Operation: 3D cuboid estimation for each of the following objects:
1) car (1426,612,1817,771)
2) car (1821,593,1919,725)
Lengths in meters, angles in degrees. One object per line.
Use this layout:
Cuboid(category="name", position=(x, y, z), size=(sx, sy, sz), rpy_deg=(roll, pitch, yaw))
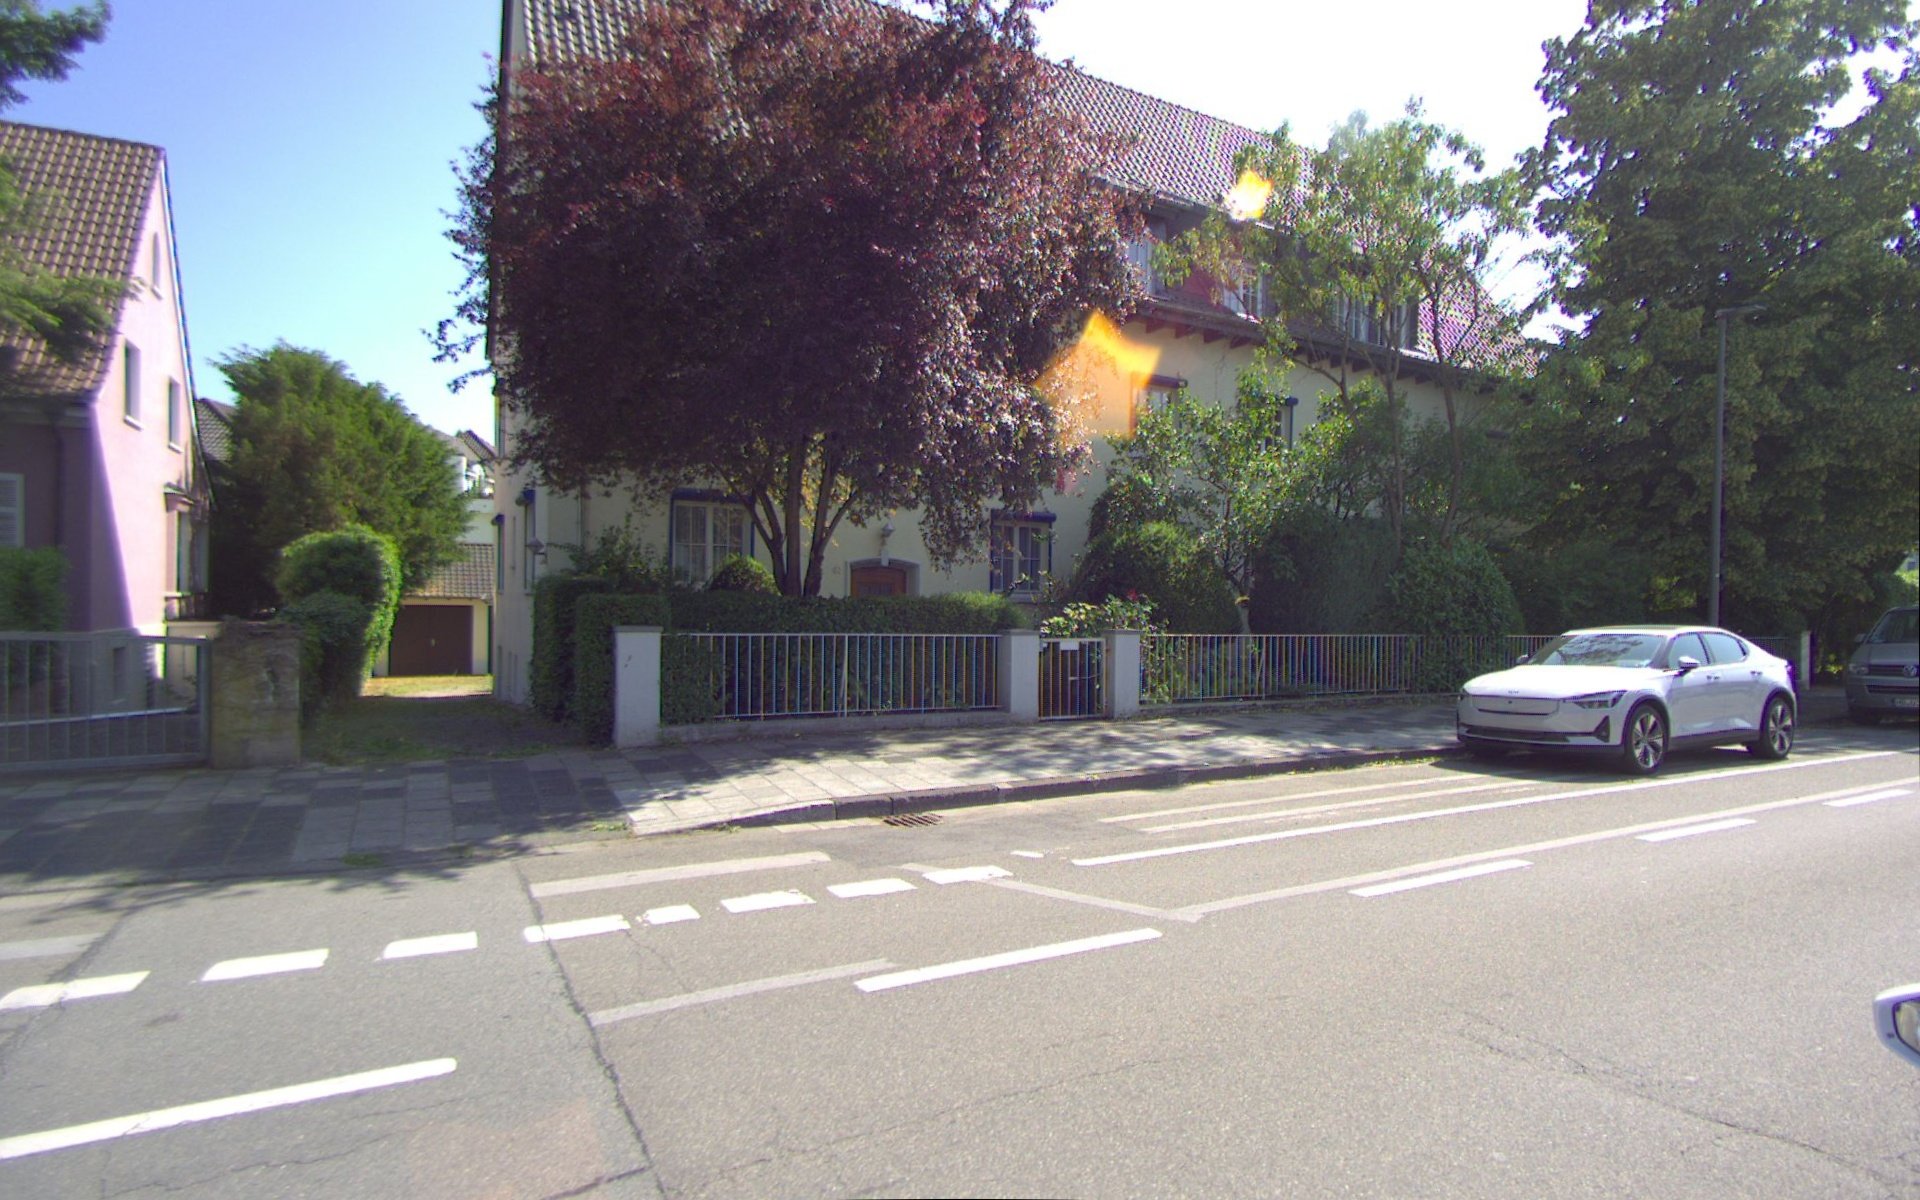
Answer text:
Cuboid(category="car", position=(7.562, 0.929, 11.404), size=(4.506, 1.505, 1.826), rpy_deg=(1, -2, -29))
Cuboid(category="car", position=(16.213, 0.928, 16.175), size=(4.805, 1.945, 1.878), rpy_deg=(1, -1, -27))
